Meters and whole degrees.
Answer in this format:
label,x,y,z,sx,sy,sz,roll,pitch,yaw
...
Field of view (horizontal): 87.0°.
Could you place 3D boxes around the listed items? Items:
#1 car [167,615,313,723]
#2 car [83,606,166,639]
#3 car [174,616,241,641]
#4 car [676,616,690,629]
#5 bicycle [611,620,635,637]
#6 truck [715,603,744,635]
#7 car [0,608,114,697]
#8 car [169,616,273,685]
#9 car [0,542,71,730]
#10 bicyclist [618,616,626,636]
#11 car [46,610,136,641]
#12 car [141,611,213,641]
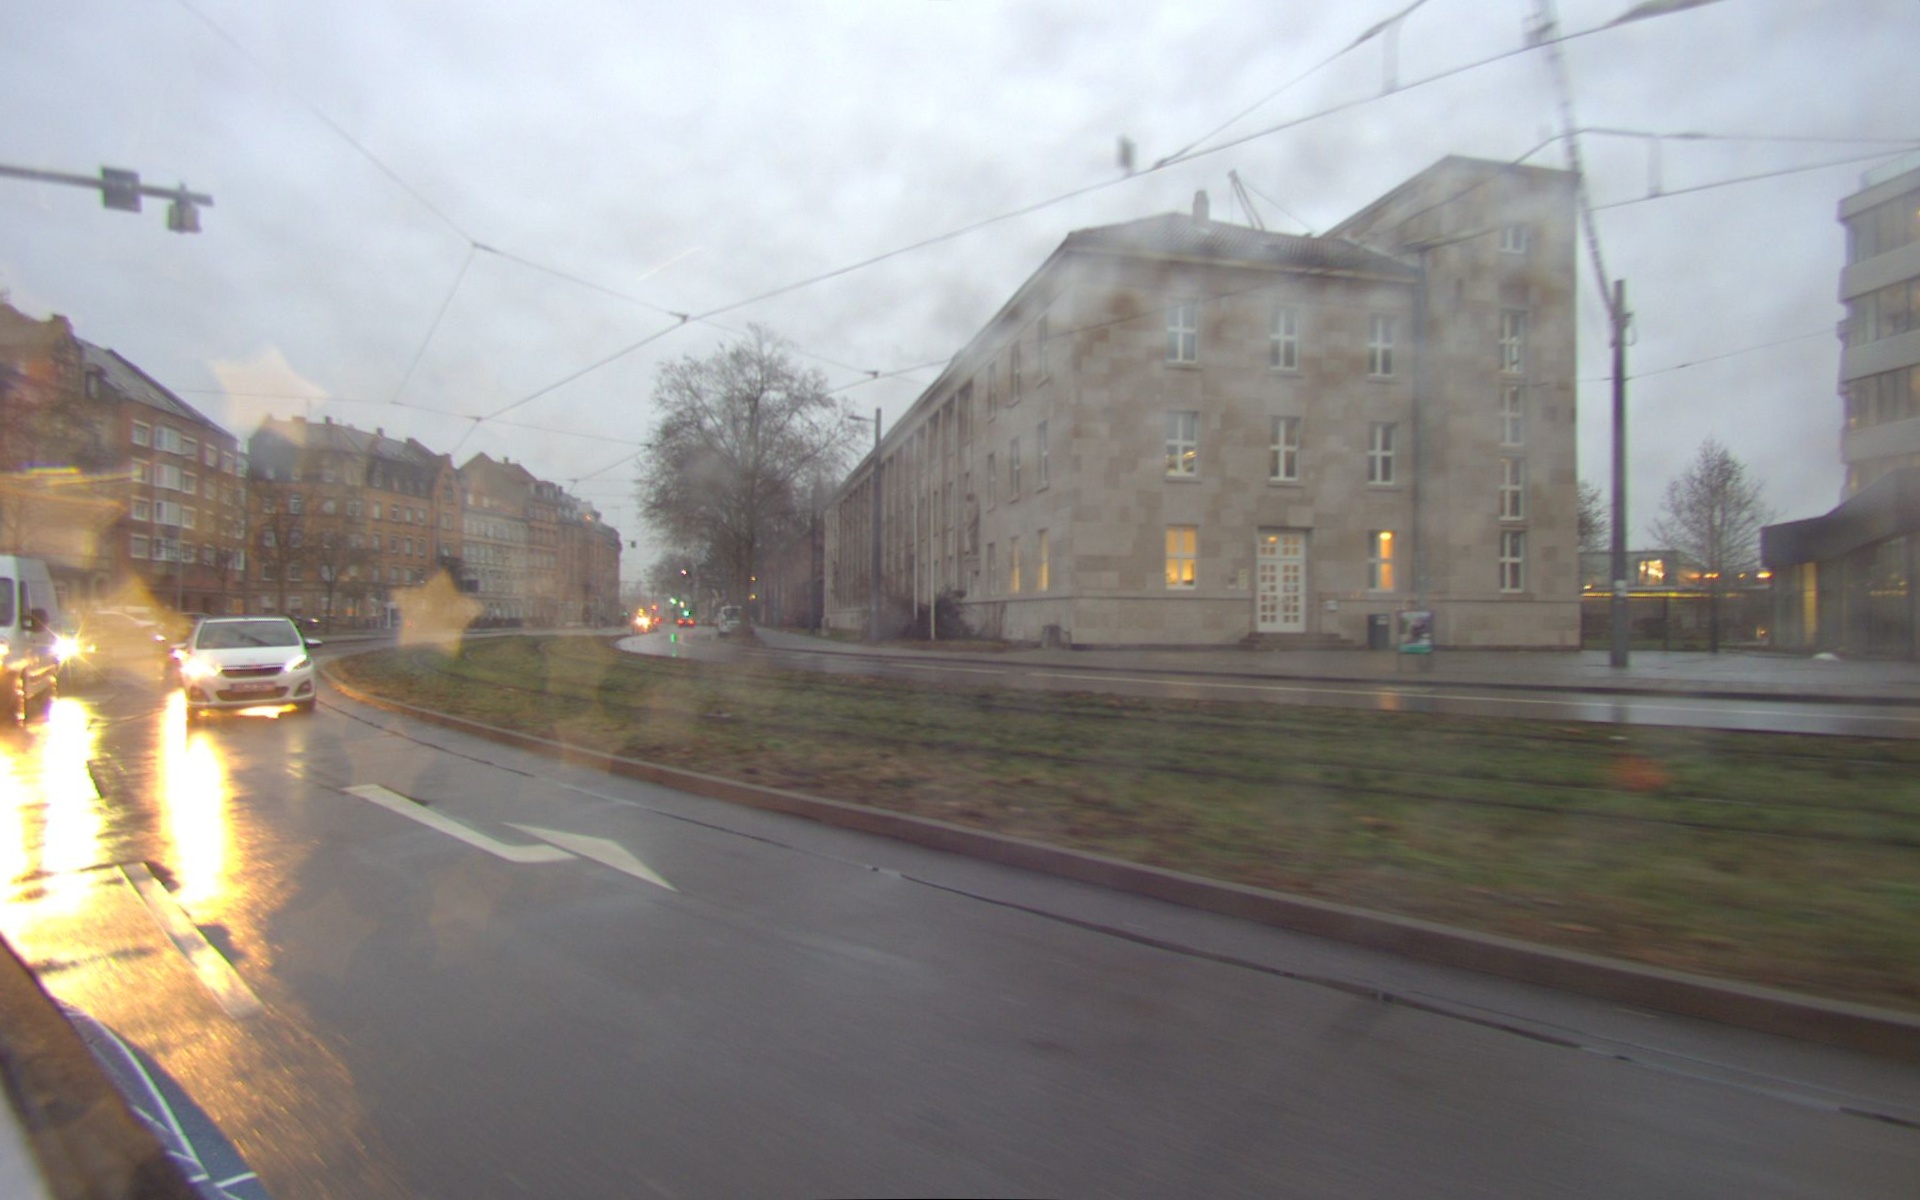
label,x,y,z,sx,sy,sz,roll,pitch,yaw
car,-11.023,0.964,15.563,1.663,1.441,3.355,0,-1,-35
car,-42.585,1.165,51.653,3.134,1.636,1.431,1,-2,-36
car,-44.570,1.672,60.014,3.134,1.424,1.385,1,-2,-35
car,-35.832,2.903,130.816,1.662,1.652,3.657,0,-1,-15
bicycle,-35.586,3.043,106.876,2.411,1.719,0.848,0,0,-18
truck,-15.394,1.288,67.749,1.808,2.060,4.009,0,-1,-12
car,-19.487,1.045,21.531,1.846,1.701,4.181,0,-1,-34
car,-17.416,1.143,23.997,1.846,1.486,4.181,0,-1,-35
car,-15.013,0.507,15.110,2.207,2.481,5.681,0,-1,-37
bicyclist,-35.663,2.749,106.855,0.766,2.029,0.832,0,0,-18
car,-41.806,1.221,48.766,3.134,1.440,1.431,1,-2,-36
car,-44.046,1.464,57.029,3.134,1.636,1.449,1,-2,-36
